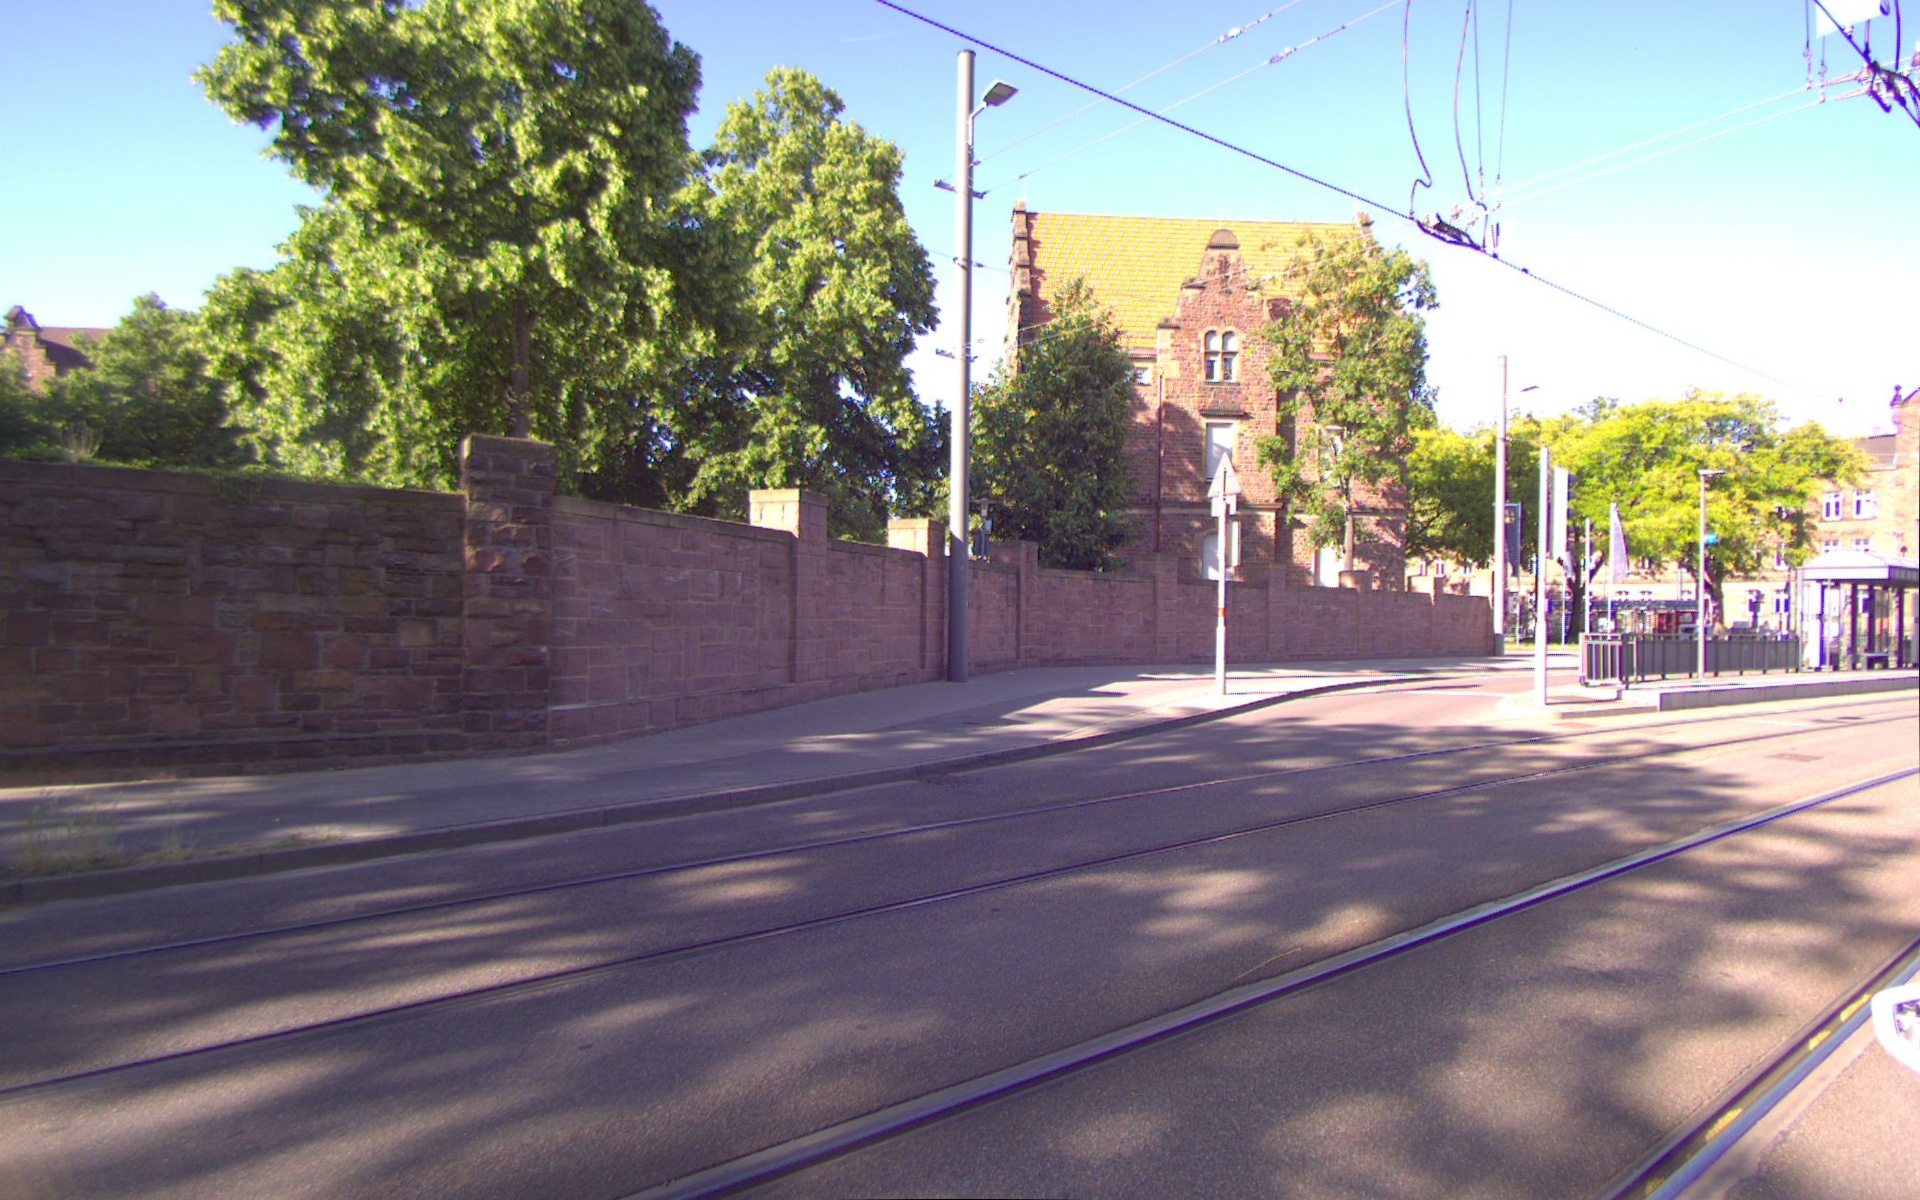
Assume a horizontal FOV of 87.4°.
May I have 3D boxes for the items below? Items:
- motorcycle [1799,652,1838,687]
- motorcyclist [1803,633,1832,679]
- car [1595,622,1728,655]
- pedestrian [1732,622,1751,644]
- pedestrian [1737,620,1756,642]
[{"bbox_3d":[31.381,2.513,36.702,2.055,1.214,0.607,1,-1,-35],"label":"motorcycle"},{"bbox_3d":[31.265,2.020,36.609,0.836,1.643,0.609,1,0,-35],"label":"motorcyclist"},{"bbox_3d":[47.920,2.588,68.796,2.957,1.946,6.915,1,-1,-30],"label":"car"},{"bbox_3d":[58.959,2.465,75.789,0.798,1.610,0.923,0,1,-41],"label":"pedestrian"},{"bbox_3d":[59.333,2.353,75.769,0.797,1.609,0.925,1,0,-36],"label":"pedestrian"}]
